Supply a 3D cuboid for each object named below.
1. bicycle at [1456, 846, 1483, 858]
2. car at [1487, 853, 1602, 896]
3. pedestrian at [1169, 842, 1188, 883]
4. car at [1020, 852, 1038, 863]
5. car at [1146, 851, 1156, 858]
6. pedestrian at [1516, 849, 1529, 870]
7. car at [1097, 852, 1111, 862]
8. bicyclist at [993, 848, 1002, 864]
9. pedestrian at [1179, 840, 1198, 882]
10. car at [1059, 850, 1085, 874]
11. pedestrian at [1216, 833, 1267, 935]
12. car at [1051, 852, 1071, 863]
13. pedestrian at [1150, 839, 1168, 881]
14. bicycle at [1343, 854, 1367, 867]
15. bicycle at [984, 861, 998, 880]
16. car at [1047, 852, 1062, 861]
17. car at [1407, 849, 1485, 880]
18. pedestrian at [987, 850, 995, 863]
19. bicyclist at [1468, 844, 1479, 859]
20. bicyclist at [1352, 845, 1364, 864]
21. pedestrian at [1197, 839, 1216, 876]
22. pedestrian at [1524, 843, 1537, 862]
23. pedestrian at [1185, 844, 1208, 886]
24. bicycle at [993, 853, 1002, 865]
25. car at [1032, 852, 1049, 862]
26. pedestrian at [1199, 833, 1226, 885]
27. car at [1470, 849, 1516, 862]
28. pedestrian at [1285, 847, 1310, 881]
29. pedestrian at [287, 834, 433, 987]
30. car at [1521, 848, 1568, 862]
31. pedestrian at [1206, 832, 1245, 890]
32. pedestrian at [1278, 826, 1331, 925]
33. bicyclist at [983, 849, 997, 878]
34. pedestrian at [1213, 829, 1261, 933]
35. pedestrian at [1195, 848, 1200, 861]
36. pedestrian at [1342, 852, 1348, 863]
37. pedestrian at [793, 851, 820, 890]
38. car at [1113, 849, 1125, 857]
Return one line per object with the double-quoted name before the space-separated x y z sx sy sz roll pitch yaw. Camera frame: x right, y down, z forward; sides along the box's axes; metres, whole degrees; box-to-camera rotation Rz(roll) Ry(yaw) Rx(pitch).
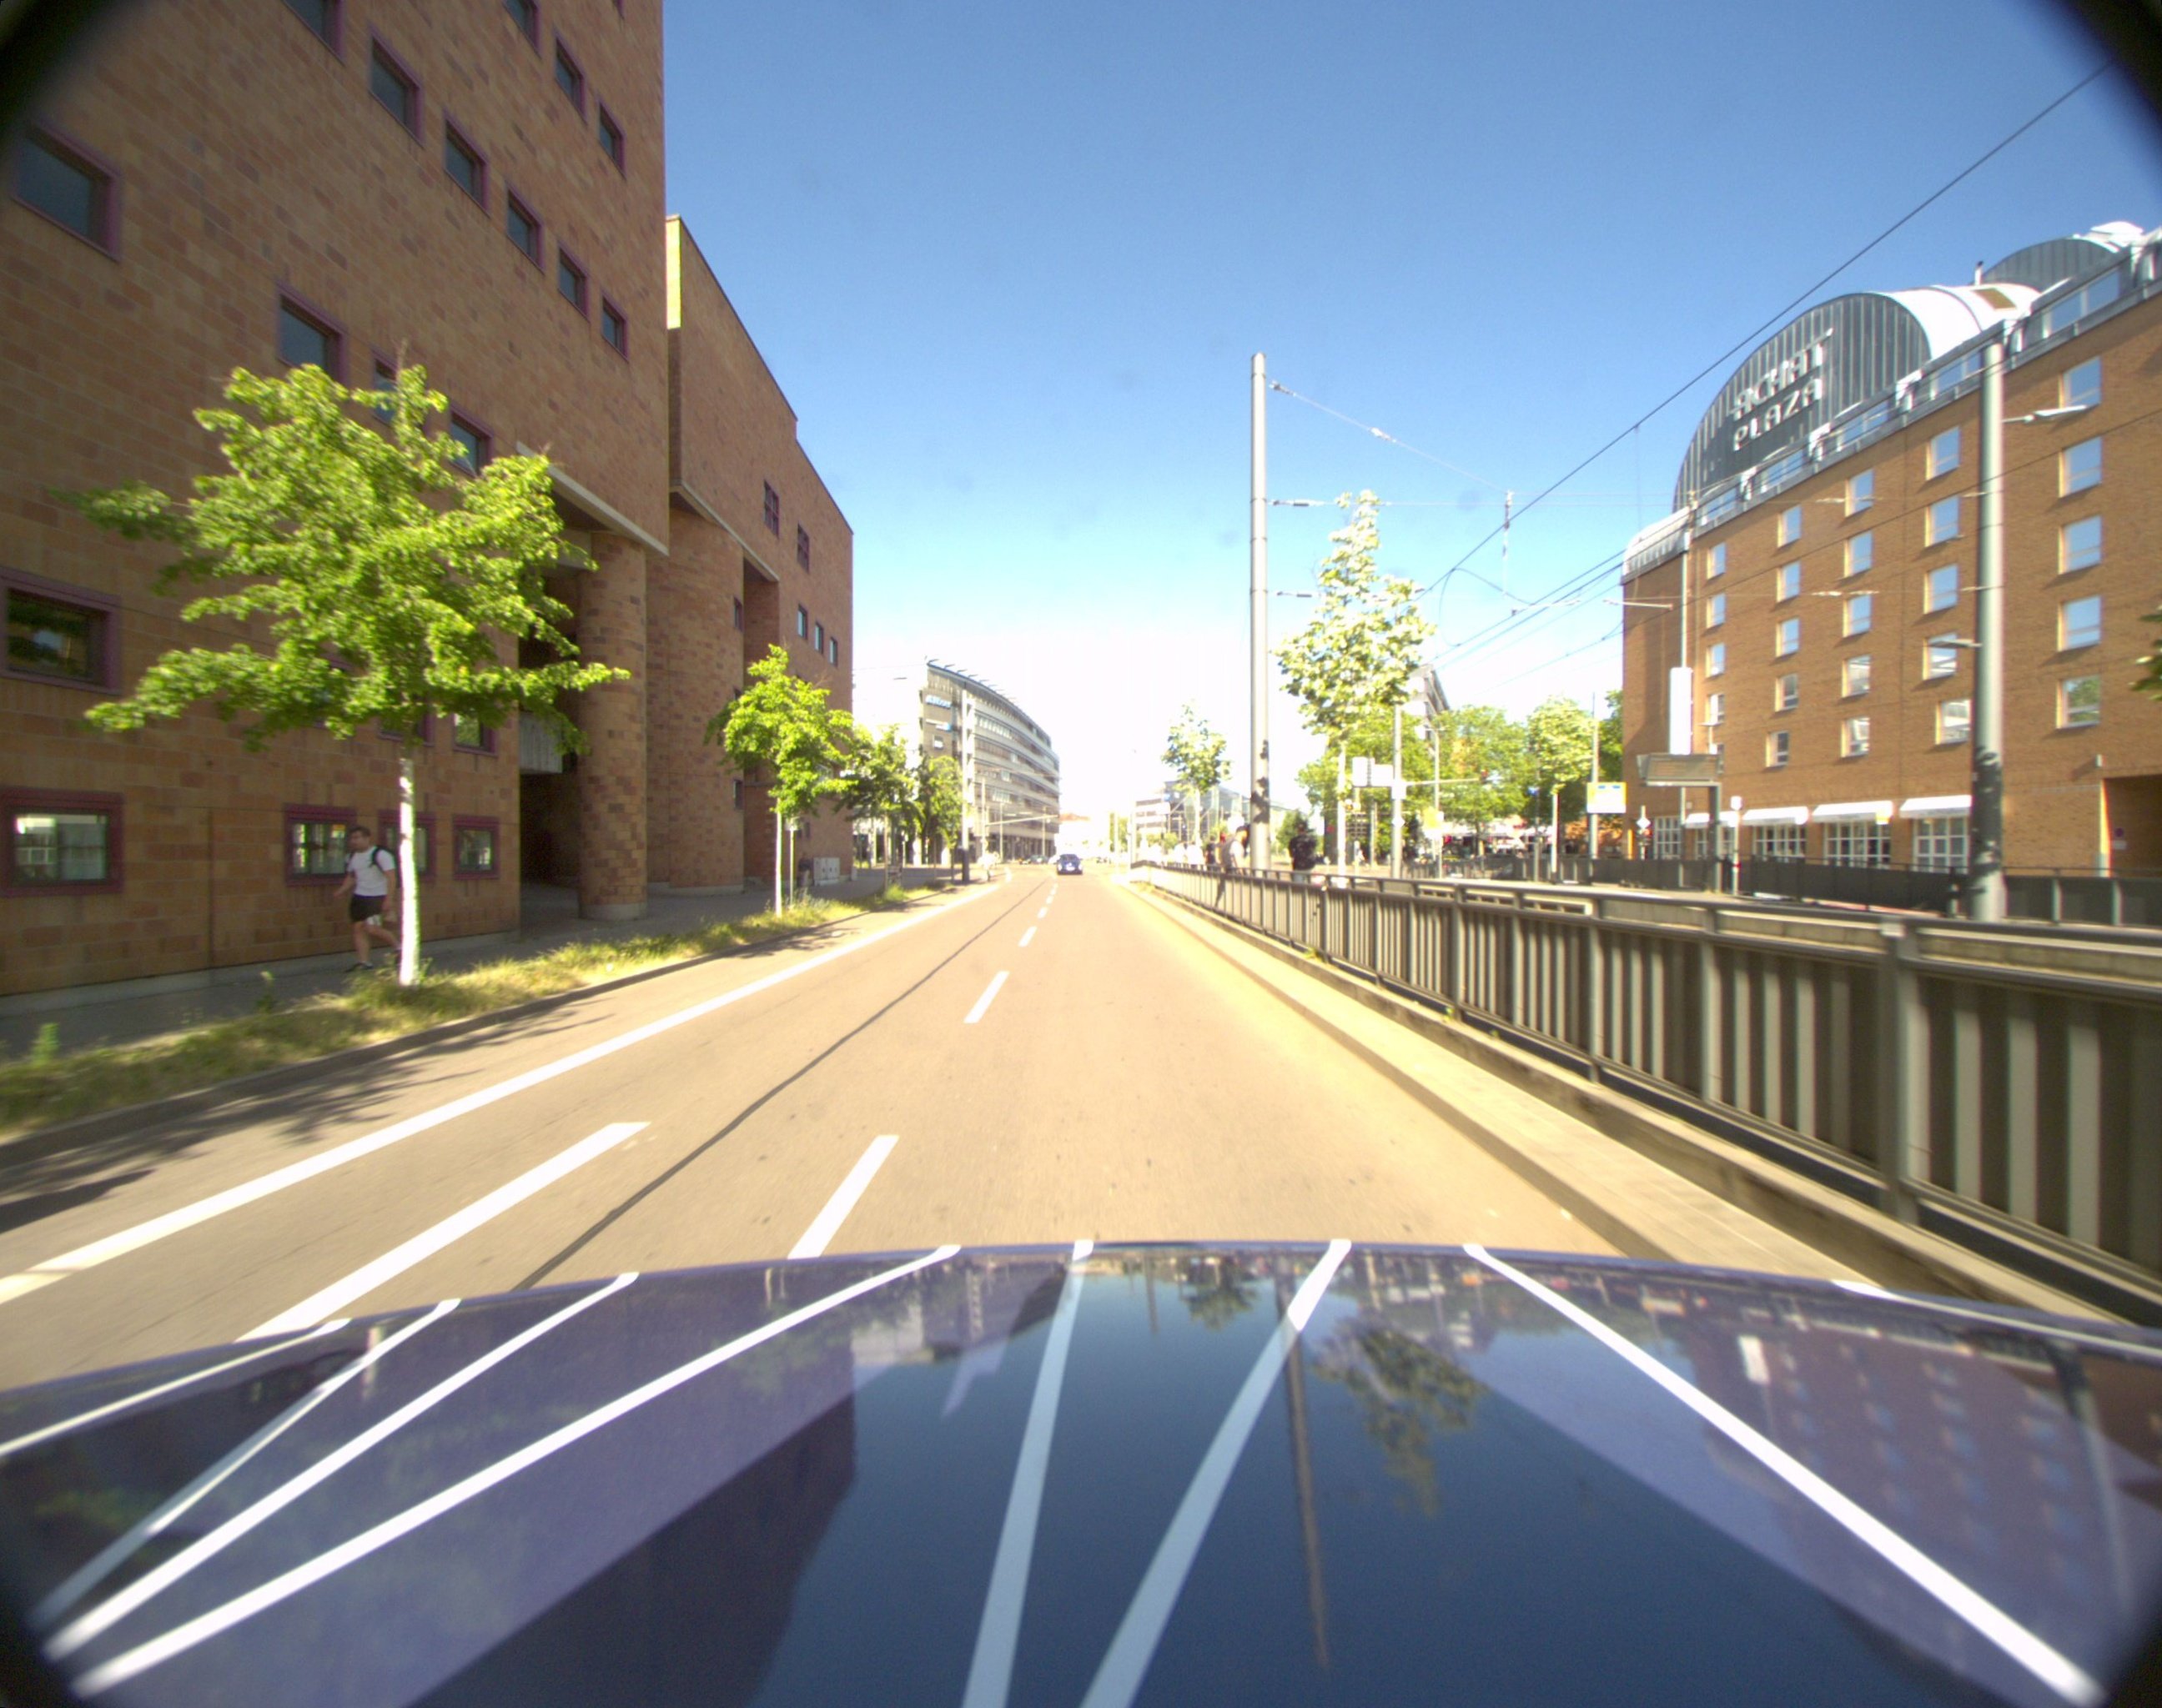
"bicycle" 47.805 -0.272 93.475 2.845 1.528 0.904 0 1 6
"car" 17.770 0.739 29.389 1.936 1.489 4.289 0 0 2
"pedestrian" 4.083 0.351 31.911 0.649 1.733 0.820 0 1 -3
"car" -7.515 0.498 110.540 1.882 1.456 4.001 -2 1 7
"car" 15.201 0.131 164.350 1.953 1.456 4.002 -2 1 8
"pedestrian" 36.491 0.455 62.785 0.645 1.696 0.728 0 1 5
"car" 3.768 0.470 125.076 1.882 1.456 4.002 -2 1 8
"bicyclist" -8.439 0.194 77.001 0.755 1.607 0.762 -2 1 4
"pedestrian" 4.520 0.292 31.982 0.649 1.764 0.820 0 1 -3
"car" -0.620 0.544 56.412 1.802 1.597 3.999 -2 1 1
"pedestrian" 2.800 0.506 13.306 0.748 1.738 0.715 0 1 0
"car" -2.859 0.436 110.104 2.120 1.547 4.003 0 1 9
"pedestrian" 3.285 0.241 31.925 0.649 1.733 0.820 0 1 -3
"bicycle" 23.131 0.524 64.150 1.838 1.093 0.638 0 1 9
"bicycle" -5.557 1.008 46.767 0.578 1.090 1.507 -2 1 3
"car" -4.361 0.396 126.719 1.882 1.456 4.001 -2 1 7
"car" 18.120 0.480 37.969 1.936 1.489 4.289 0 1 2
"pedestrian" -11.918 0.340 100.941 0.859 1.678 0.801 0 1 14
"bicyclist" 48.205 -0.342 93.387 0.926 1.798 0.861 0 1 6
"bicyclist" 23.365 0.020 64.128 0.848 1.630 0.779 0 1 9
"pedestrian" 5.289 0.135 31.937 0.610 1.560 0.908 0 1 -3
"pedestrian" 37.622 -0.145 63.612 0.645 1.601 0.728 0 1 5
"pedestrian" 4.523 0.418 29.830 0.756 1.609 0.775 0 1 -3
"bicycle" -8.453 0.497 77.114 0.578 1.090 1.507 -2 1 3
"car" -6.293 0.454 118.766 1.882 1.456 4.001 -2 1 7
"pedestrian" 4.648 0.178 26.898 0.756 1.800 0.840 0 1 -3
"car" 46.040 0.140 84.984 4.169 1.499 1.910 0 1 3
"pedestrian" 10.887 0.511 38.232 0.960 1.680 1.007 0 1 3
"pedestrian" -9.232 0.684 9.789 0.790 1.872 1.106 0 1 1
"car" 51.442 0.074 84.437 3.996 1.499 1.910 0 1 3
"pedestrian" 4.583 0.214 24.131 0.994 1.800 1.022 0 1 -3
"pedestrian" 3.942 0.368 13.438 0.710 1.713 0.752 0 1 -1
"bicyclist" -5.576 0.596 46.671 0.684 1.718 0.909 -2 1 2
"pedestrian" 2.871 0.477 14.033 0.748 1.874 0.715 0 1 0
"pedestrian" 14.808 0.069 96.736 0.580 1.625 0.548 0 1 13
"pedestrian" 34.981 0.435 100.682 0.663 1.389 0.672 0 1 13
"pedestrian" -11.567 0.680 32.058 0.790 1.610 0.976 0 1 -2
"car" 7.092 -0.217 141.119 1.882 1.456 4.001 -2 1 7
